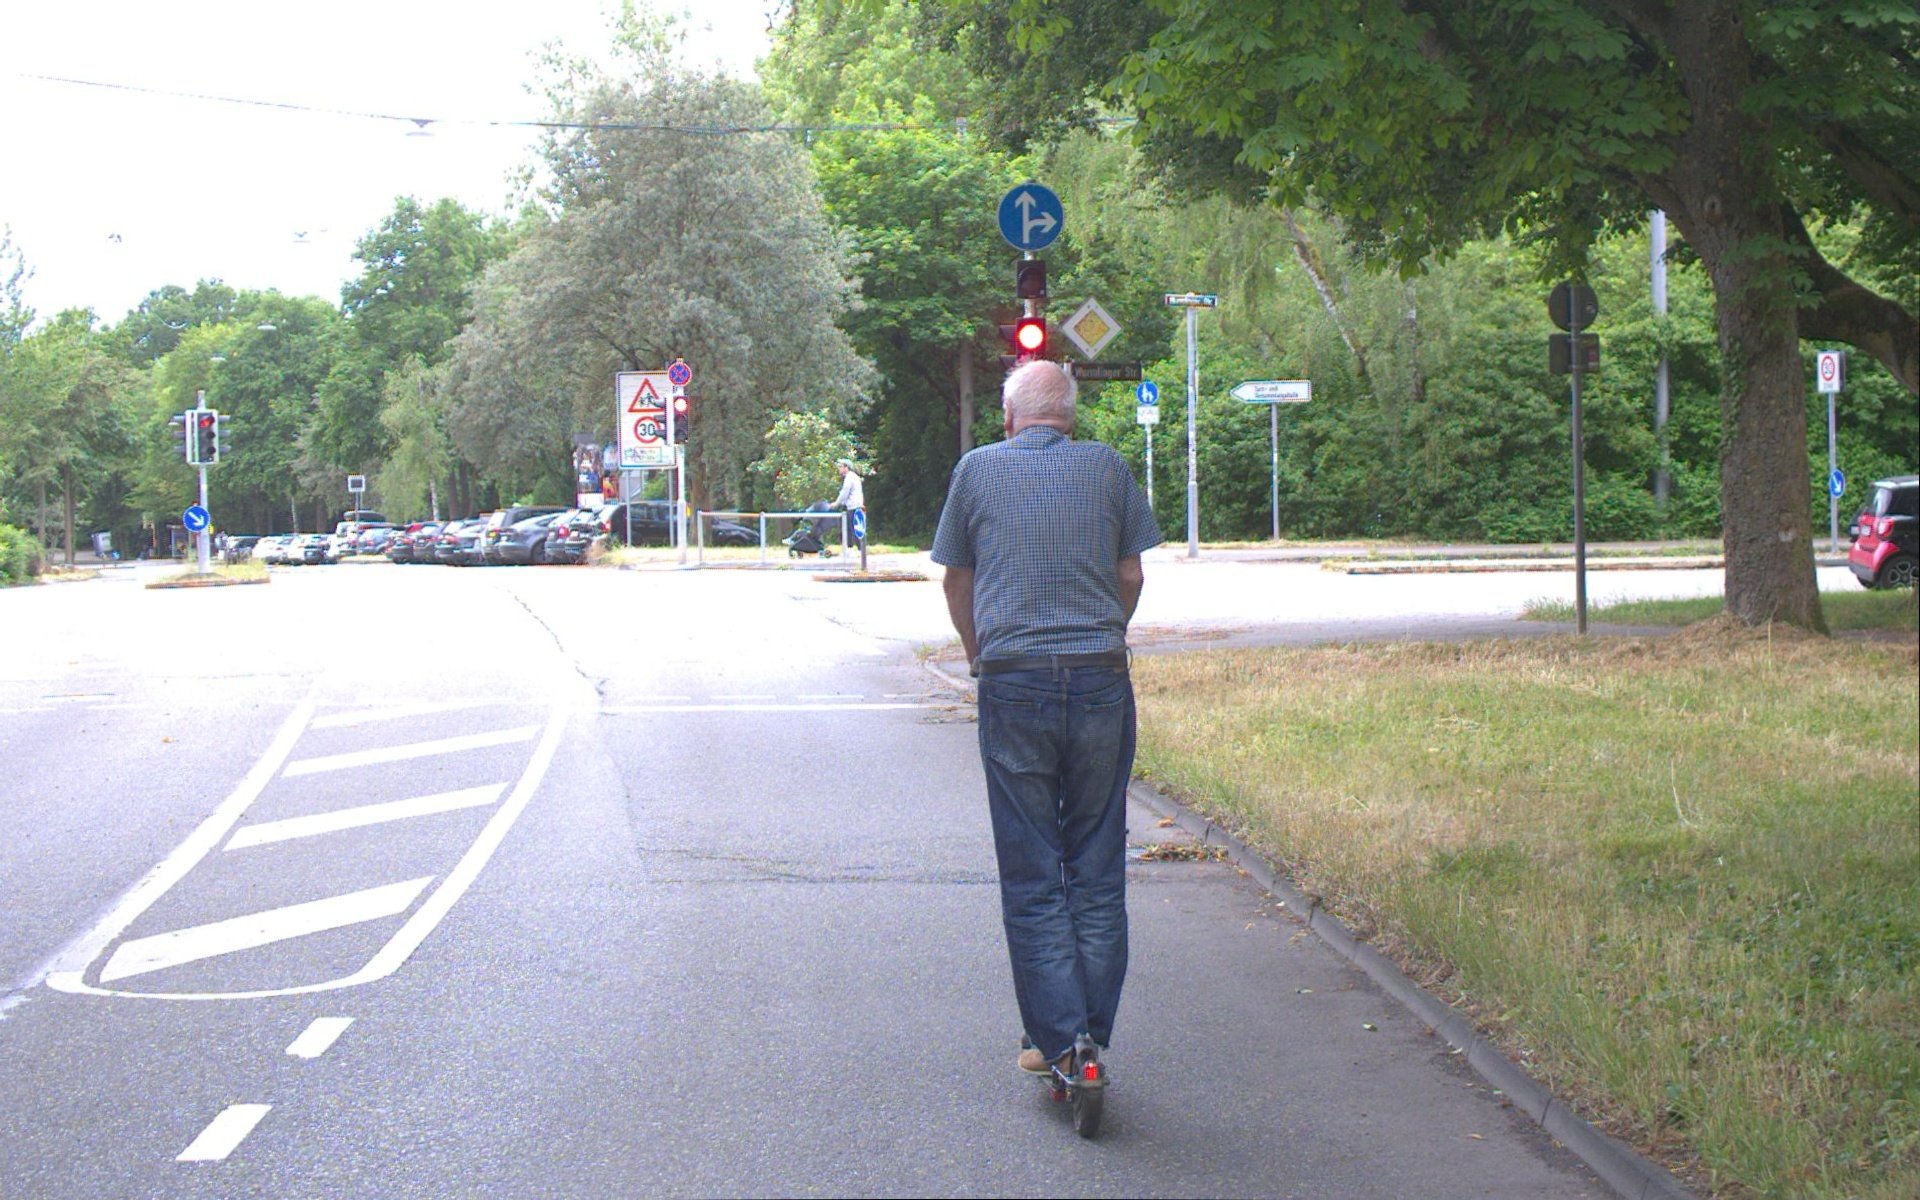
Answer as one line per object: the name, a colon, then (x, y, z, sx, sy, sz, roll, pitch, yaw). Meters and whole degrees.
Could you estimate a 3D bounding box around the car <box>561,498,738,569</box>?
car: (-7.242, -1.548, 79.977, 3.986, 1.505, 1.801, -2, 2, -7)

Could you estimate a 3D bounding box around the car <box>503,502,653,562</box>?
car: (-10.433, -1.868, 93.757, 3.986, 1.505, 1.801, -2, 2, -7)

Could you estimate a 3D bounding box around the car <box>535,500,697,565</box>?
car: (-8.729, -1.725, 87.017, 3.986, 1.505, 1.801, -2, 2, -7)

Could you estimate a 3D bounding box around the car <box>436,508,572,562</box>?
car: (-13.814, -1.983, 104.201, 3.986, 1.505, 1.801, -2, 2, -7)

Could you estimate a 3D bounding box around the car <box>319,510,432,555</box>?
car: (-21.522, -2.488, 126.740, 3.986, 1.505, 1.801, -2, 2, -7)

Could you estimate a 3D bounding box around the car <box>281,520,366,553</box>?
car: (-31.533, -3.157, 170.332, 3.986, 1.505, 1.801, -2, 2, -7)

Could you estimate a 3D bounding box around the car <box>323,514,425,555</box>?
car: (-23.906, -2.684, 140.392, 3.986, 1.505, 1.801, -2, 2, -7)

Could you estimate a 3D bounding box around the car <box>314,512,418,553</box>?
car: (-23.756, -2.705, 137.607, 3.986, 1.505, 1.801, -2, 2, -7)

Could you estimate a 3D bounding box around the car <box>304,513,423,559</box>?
car: (-20.939, -2.259, 120.830, 3.986, 1.505, 1.801, -2, 2, -7)

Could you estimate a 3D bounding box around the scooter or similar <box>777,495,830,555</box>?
scooter or similar: (-2.797, -1.337, 61.434, 0.710, 1.045, 0.787, -1, 1, 15)

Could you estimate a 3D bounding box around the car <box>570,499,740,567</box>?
car: (-7.428, -1.633, 83.552, 3.986, 1.505, 1.801, -2, 2, -7)

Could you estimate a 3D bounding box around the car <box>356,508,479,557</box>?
car: (-18.211, -2.293, 115.607, 3.986, 1.505, 1.801, -2, 2, -7)

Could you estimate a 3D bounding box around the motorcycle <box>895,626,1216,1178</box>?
motorcycle: (0.207, 0.695, 8.490, 0.672, 1.213, 1.274, 0, 2, -4)

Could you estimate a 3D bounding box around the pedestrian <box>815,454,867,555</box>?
pedestrian: (-2.116, -1.694, 61.100, 0.732, 1.755, 0.661, -1, 1, 15)

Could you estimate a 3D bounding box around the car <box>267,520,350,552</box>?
car: (-33.151, -3.268, 175.039, 3.986, 1.505, 1.801, -2, 2, -7)

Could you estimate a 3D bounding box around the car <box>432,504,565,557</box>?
car: (-14.220, -2.156, 106.094, 3.986, 1.505, 1.801, -2, 2, -7)

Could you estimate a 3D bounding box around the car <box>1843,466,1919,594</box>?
car: (13.557, -0.911, 44.344, 3.988, 1.551, 1.800, 0, 5, 8)

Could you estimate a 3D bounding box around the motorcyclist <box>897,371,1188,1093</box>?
motorcyclist: (0.195, 0.315, 8.683, 0.672, 1.755, 0.639, 0, 1, -4)
